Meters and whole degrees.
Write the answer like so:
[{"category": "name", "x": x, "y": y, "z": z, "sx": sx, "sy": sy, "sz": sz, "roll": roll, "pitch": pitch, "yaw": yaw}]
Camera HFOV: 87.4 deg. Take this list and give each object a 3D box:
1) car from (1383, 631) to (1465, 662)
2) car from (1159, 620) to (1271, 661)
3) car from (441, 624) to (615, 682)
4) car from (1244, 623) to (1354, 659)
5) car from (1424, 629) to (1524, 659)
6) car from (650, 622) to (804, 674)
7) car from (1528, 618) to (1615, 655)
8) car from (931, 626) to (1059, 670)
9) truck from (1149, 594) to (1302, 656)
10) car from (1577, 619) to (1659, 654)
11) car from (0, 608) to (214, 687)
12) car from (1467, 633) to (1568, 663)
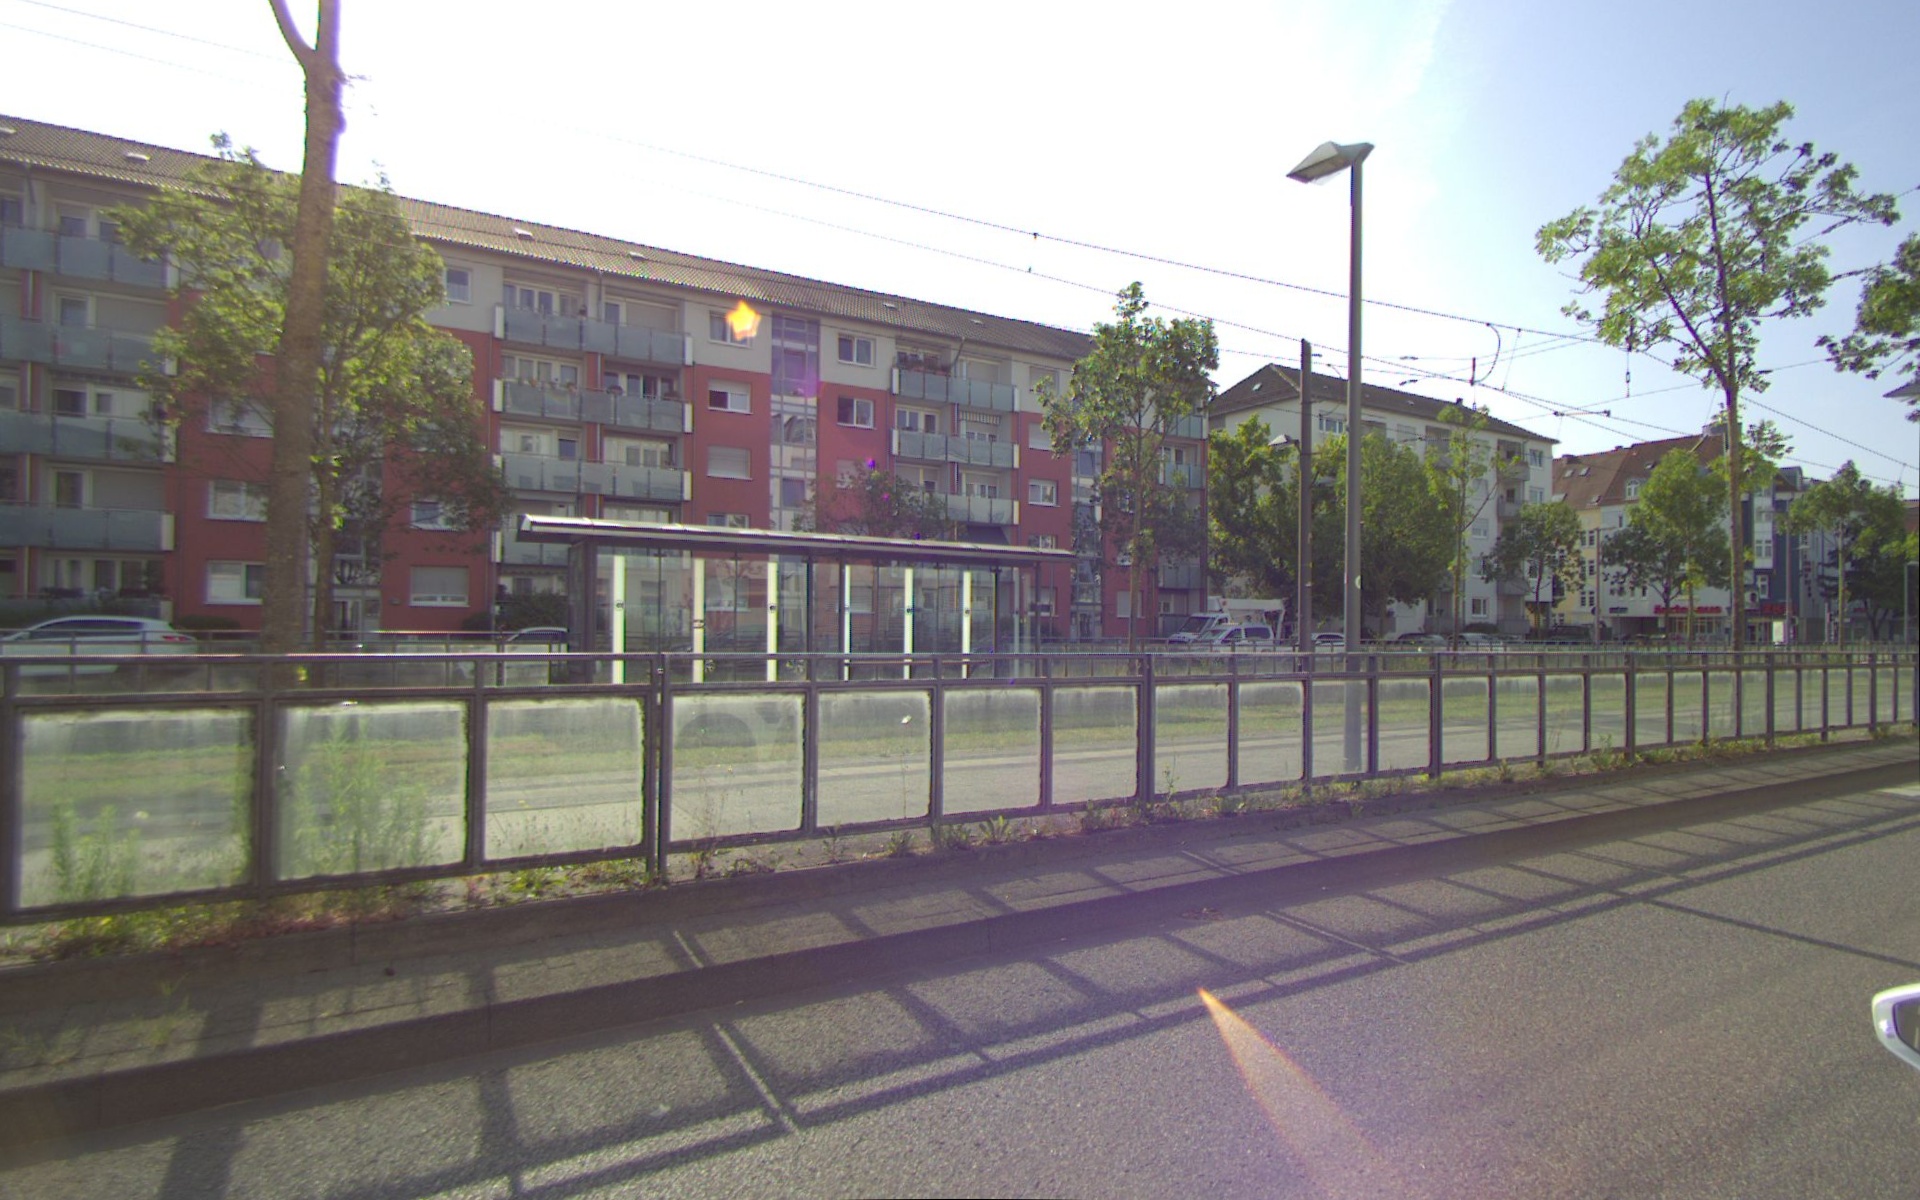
[{"category": "car", "x": 20.479, "y": 2.020, "z": 44.515, "sx": 1.796, "sy": 1.260, "sz": 4.000, "roll": 1, "pitch": -1, "yaw": 0}, {"category": "car", "x": 10.279, "y": 1.625, "z": 40.383, "sx": 4.233, "sy": 1.533, "sz": 1.970, "roll": 2, "pitch": 0, "yaw": -32}, {"category": "car", "x": -11.558, "y": 1.399, "z": 26.896, "sx": 4.024, "sy": 1.378, "sz": 1.970, "roll": 2, "pitch": 0, "yaw": -32}, {"category": "car", "x": 14.587, "y": 1.764, "z": 43.144, "sx": 4.632, "sy": 1.397, "sz": 1.970, "roll": 2, "pitch": 0, "yaw": -32}, {"category": "car", "x": 23.507, "y": 2.016, "z": 46.121, "sx": 1.907, "sy": 1.260, "sz": 3.988, "roll": 1, "pitch": -1, "yaw": -15}, {"category": "car", "x": -6.866, "y": 1.393, "z": 29.706, "sx": 4.024, "sy": 1.378, "sz": 1.970, "roll": 2, "pitch": 0, "yaw": -32}, {"category": "car", "x": 36.844, "y": 2.180, "z": 60.500, "sx": 5.252, "sy": 2.057, "sz": 2.353, "roll": 2, "pitch": 0, "yaw": -32}, {"category": "car", "x": 1.240, "y": 1.654, "z": 34.803, "sx": 4.024, "sy": 1.378, "sz": 1.970, "roll": 2, "pitch": 0, "yaw": -32}, {"category": "truck", "x": 12.009, "y": 1.145, "z": 45.139, "sx": 7.161, "sy": 2.597, "sz": 2.353, "roll": 2, "pitch": 0, "yaw": -32}, {"category": "car", "x": 41.750, "y": 2.338, "z": 63.710, "sx": 5.252, "sy": 2.057, "sz": 2.353, "roll": 2, "pitch": 0, "yaw": -32}, {"category": "car", "x": -19.337, "y": 1.015, "z": 22.111, "sx": 4.487, "sy": 1.577, "sz": 1.970, "roll": 2, "pitch": 0, "yaw": -32}, {"category": "car", "x": 25.958, "y": 2.216, "z": 46.914, "sx": 1.907, "sy": 1.260, "sz": 3.988, "roll": 1, "pitch": -1, "yaw": -15}]
